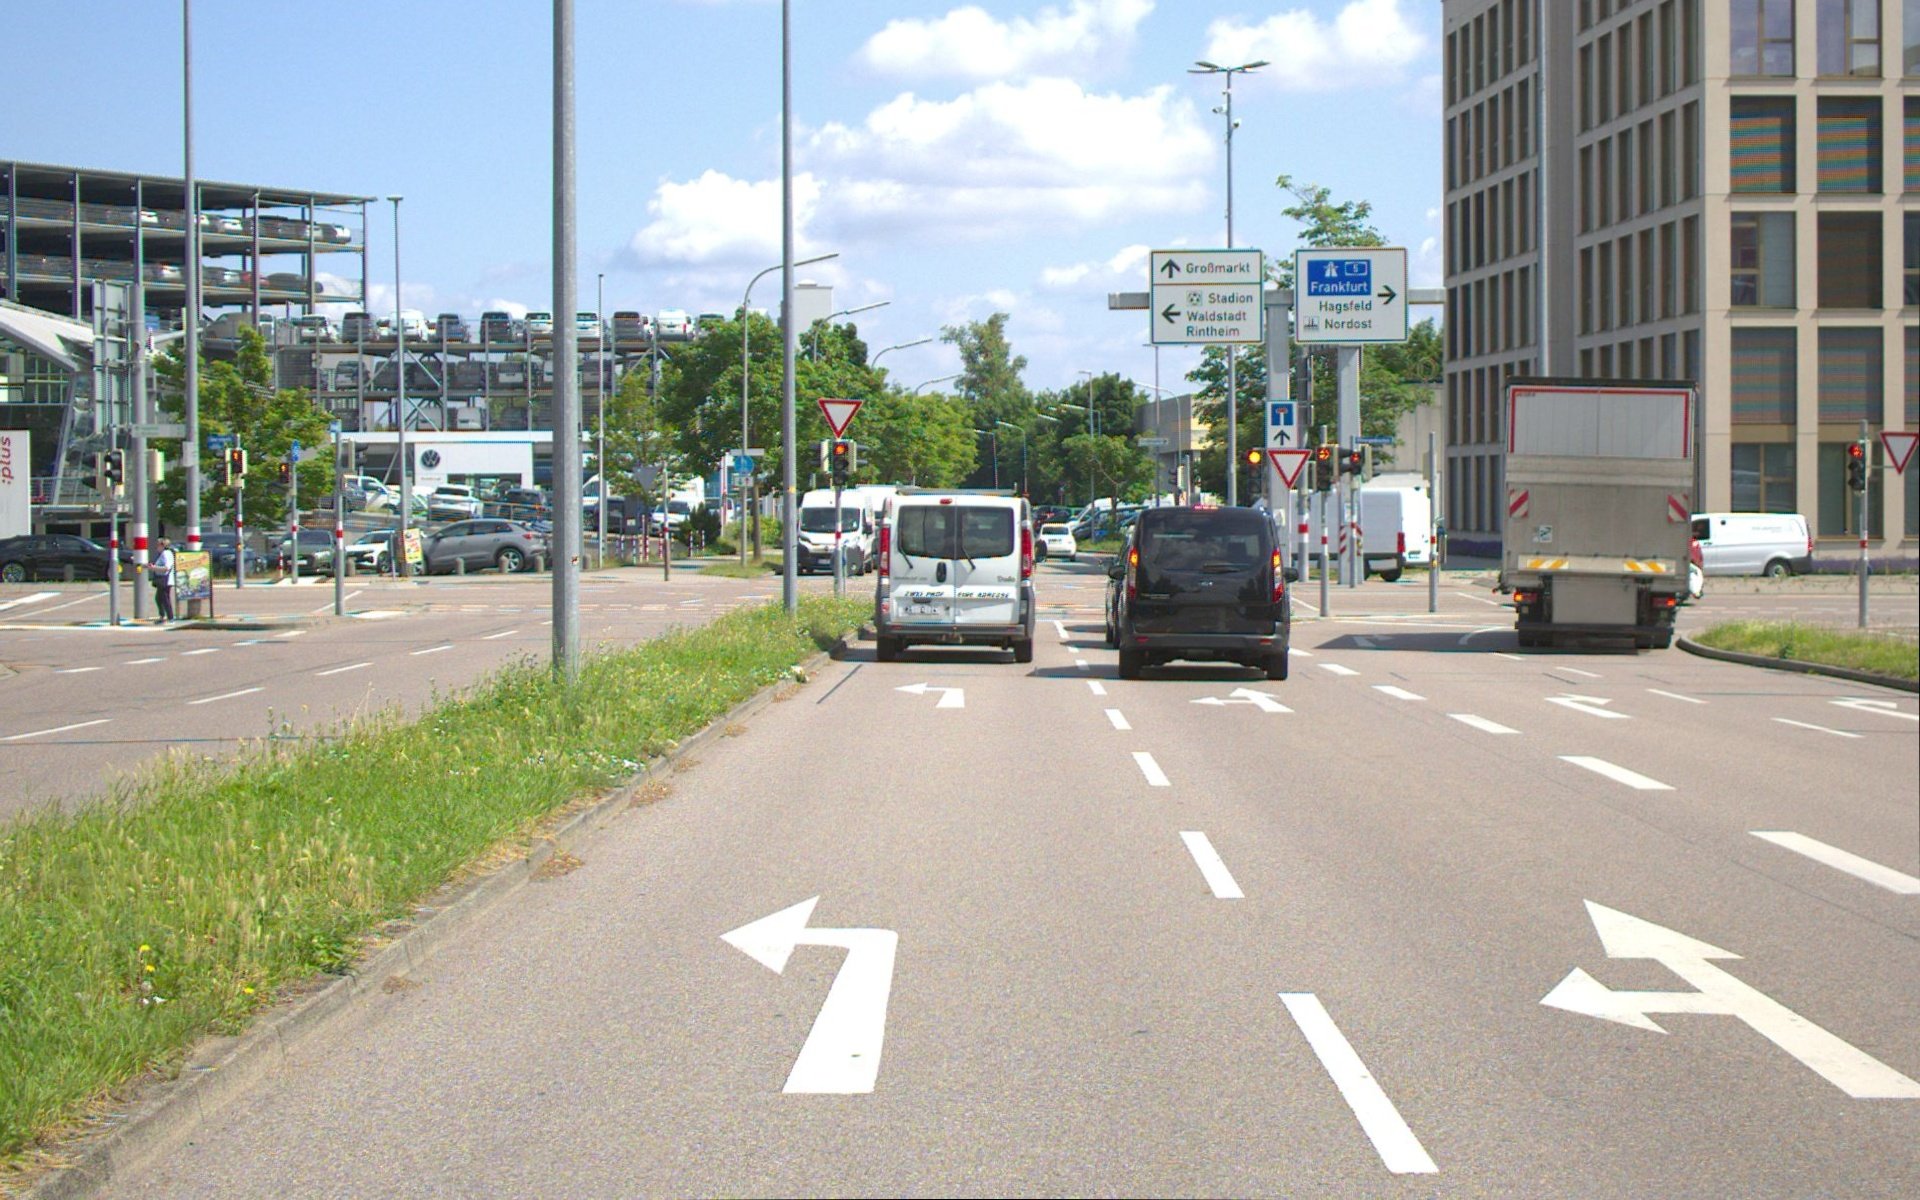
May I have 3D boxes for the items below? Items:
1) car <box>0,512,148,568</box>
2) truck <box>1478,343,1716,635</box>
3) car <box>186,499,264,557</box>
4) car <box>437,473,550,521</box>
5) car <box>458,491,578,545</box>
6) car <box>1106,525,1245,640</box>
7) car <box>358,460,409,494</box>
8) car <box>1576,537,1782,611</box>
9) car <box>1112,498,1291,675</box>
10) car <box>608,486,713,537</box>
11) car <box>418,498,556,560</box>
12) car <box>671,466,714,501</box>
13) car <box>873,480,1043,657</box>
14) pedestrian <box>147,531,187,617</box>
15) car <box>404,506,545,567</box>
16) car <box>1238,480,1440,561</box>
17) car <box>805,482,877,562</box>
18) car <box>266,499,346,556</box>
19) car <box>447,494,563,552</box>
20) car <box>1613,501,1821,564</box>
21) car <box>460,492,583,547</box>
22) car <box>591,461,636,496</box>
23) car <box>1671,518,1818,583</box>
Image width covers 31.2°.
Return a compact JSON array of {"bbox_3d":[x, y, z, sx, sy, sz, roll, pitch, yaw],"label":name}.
[{"bbox_3d":[-24.306,-1.648,94.194,3.791,1.508,1.679,0,2,-4],"label":"car"},{"bbox_3d":[9.519,-1.579,50.905,3.131,3.927,8.853,1,1,12],"label":"truck"},{"bbox_3d":[-20.241,-1.992,94.620,1.816,1.546,4.001,0,1,-16],"label":"car"},{"bbox_3d":[-17.746,-3.923,130.856,4.164,1.707,1.689,1,2,-5],"label":"car"},{"bbox_3d":[-15.160,-2.826,117.960,3.912,1.707,1.689,-2,2,-3],"label":"car"},{"bbox_3d":[2.921,-0.270,47.256,1.740,1.490,4.000,1,1,1],"label":"car"},{"bbox_3d":[-25.806,-5.507,153.894,1.846,1.524,4.001,0,2,-4],"label":"car"},{"bbox_3d":[14.703,-0.546,70.443,3.851,1.461,1.696,0,2,1],"label":"car"},{"bbox_3d":[2.624,-0.196,37.558,1.820,1.802,4.000,1,2,4],"label":"car"},{"bbox_3d":[-11.481,-3.373,131.615,3.986,1.919,1.827,0,1,-5],"label":"car"},{"bbox_3d":[-14.108,-2.121,102.669,3.912,1.707,1.689,-2,2,-3],"label":"car"},{"bbox_3d":[-11.863,-5.185,152.672,1.846,1.524,4.001,0,2,-4],"label":"car"},{"bbox_3d":[0.023,-0.406,41.522,1.856,2.011,4.000,1,1,3],"label":"car"},{"bbox_3d":[-14.038,-0.463,60.864,0.470,1.507,0.511,1,1,26],"label":"pedestrian"},{"bbox_3d":[-14.111,-1.857,100.047,3.861,1.633,1.858,-2,2,-3],"label":"car"},{"bbox_3d":[10.892,-2.324,99.042,5.508,2.247,1.996,2,3,36],"label":"car"},{"bbox_3d":[-3.535,-2.359,102.759,1.971,2.248,4.981,-2,2,0],"label":"car"},{"bbox_3d":[-18.131,-2.012,95.166,1.816,1.546,4.001,0,1,-16],"label":"car"},{"bbox_3d":[-14.527,-2.467,109.923,3.507,1.707,1.604,-2,2,-3],"label":"car"},{"bbox_3d":[19.881,-1.791,90.401,4.982,1.602,2.000,0,2,-2],"label":"car"},{"bbox_3d":[-14.738,-2.708,115.705,3.912,1.707,1.689,-2,2,-3],"label":"car"},{"bbox_3d":[-15.347,-5.388,152.305,1.846,1.524,4.001,0,2,-4],"label":"car"},{"bbox_3d":[19.434,-1.225,85.230,3.272,1.400,1.334,0,11,-1],"label":"car"}]
